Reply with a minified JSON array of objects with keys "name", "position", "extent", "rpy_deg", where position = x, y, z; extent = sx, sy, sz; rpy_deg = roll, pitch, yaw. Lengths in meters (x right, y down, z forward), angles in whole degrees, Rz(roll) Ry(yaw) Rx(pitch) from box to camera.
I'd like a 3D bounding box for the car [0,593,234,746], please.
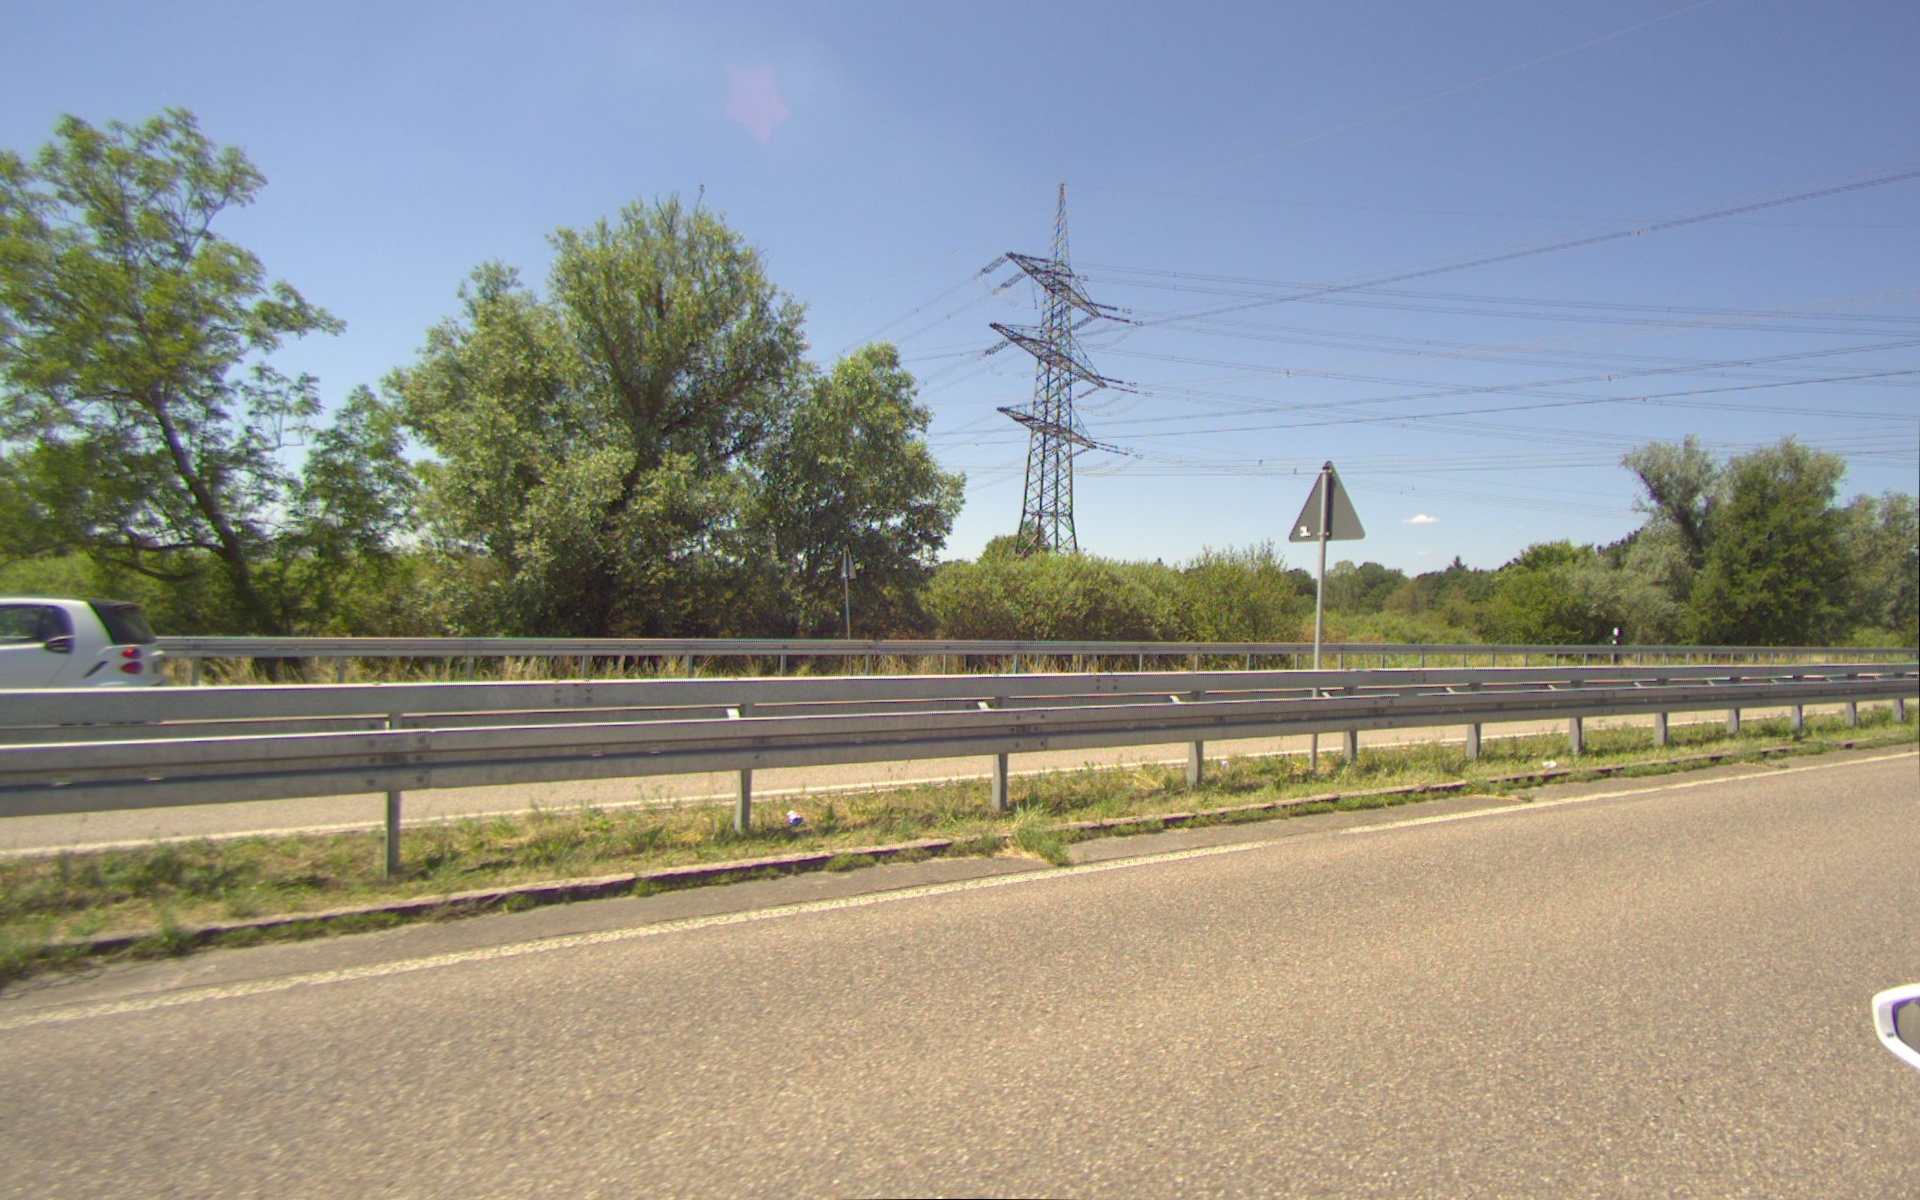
[{"name":"car","position":[-9.771,0.666,10.246],"extent":[3.658,1.469,1.525],"rpy_deg":[2,0,-30]}]
